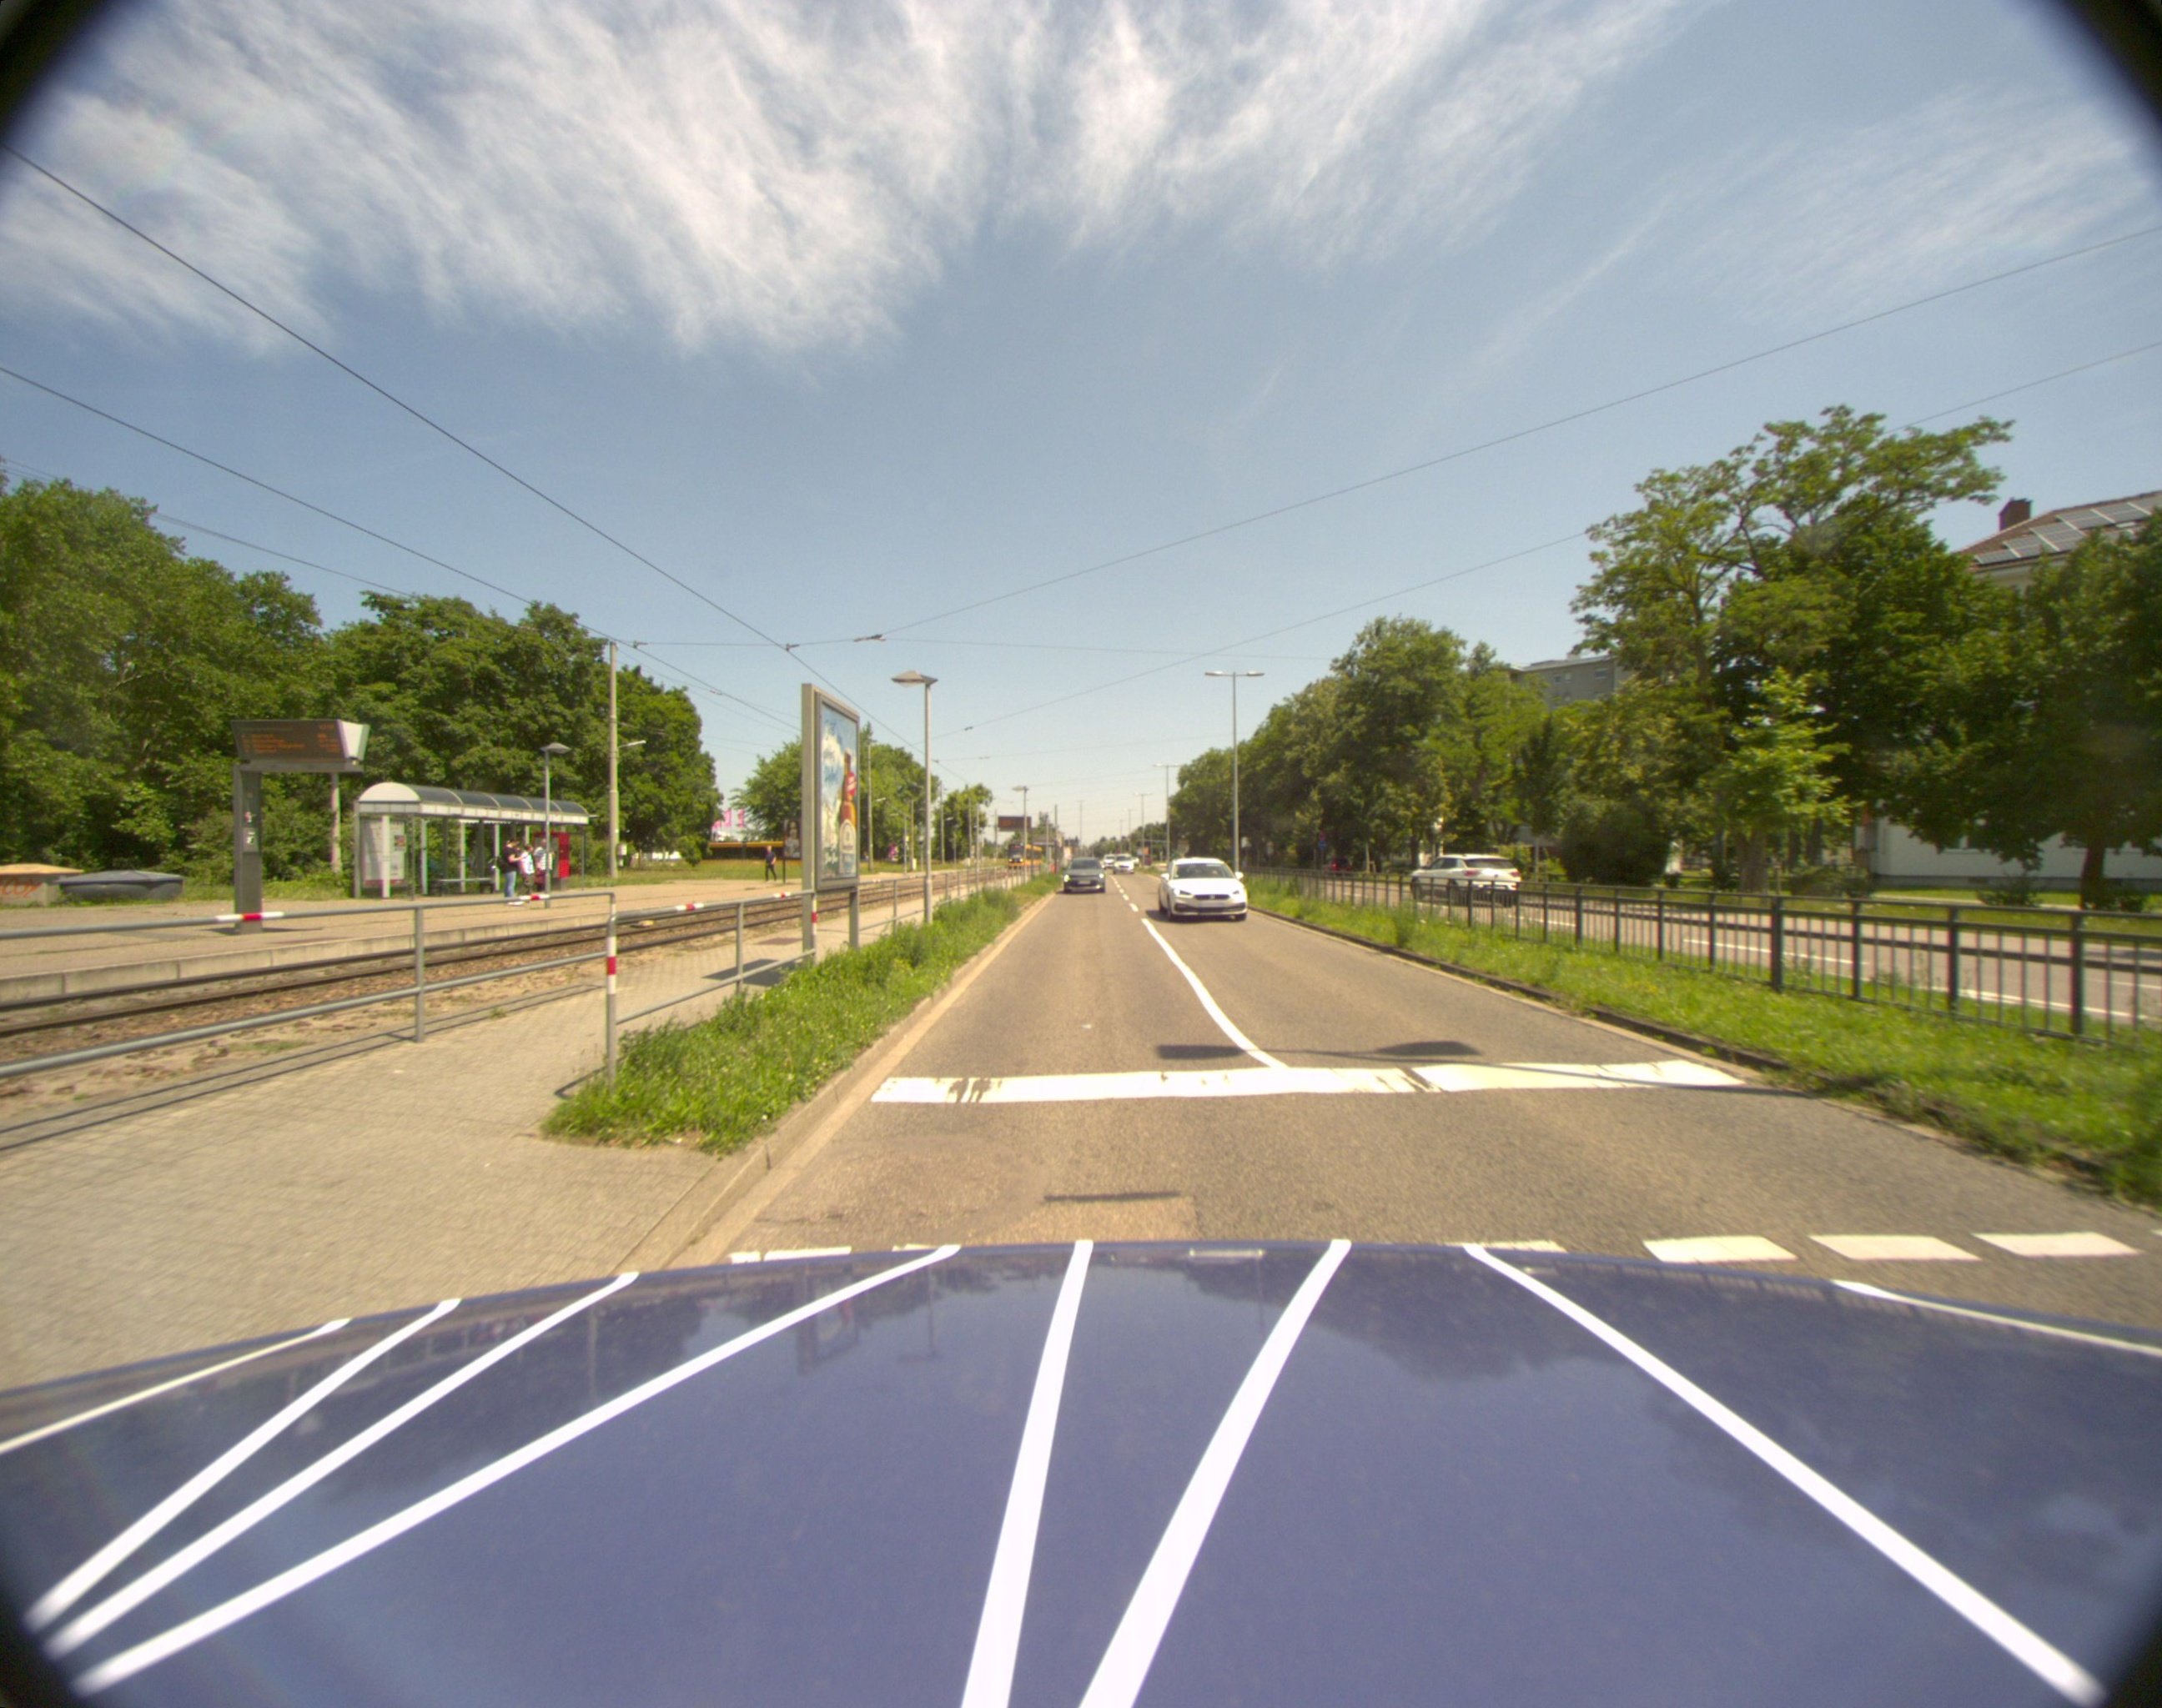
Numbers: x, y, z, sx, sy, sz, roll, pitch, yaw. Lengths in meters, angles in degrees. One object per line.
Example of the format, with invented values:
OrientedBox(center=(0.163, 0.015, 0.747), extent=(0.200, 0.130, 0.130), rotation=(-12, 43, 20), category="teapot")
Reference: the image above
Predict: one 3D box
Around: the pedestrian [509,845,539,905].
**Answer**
OrientedBox(center=(-14.813, 0.552, 20.202), extent=(0.361, 1.587, 0.483), rotation=(-1, 1, 4), category="pedestrian")

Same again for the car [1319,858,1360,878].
OrientedBox(center=(21.083, 1.087, 62.143), extent=(1.998, 1.575, 4.000), rotation=(0, 0, 1), category="car")

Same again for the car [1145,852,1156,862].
OrientedBox(center=(14.150, 0.681, 154.632), extent=(1.998, 2.002, 4.001), rotation=(1, 0, 3), category="car")

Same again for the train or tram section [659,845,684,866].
OrientedBox(center=(-73.609, 0.254, 136.841), extent=(2.719, 3.628, 13.225), rotation=(-2, 1, -23), category="train or tram section")

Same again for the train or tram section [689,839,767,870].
OrientedBox(center=(-44.540, 0.144, 95.563), extent=(13.214, 3.628, 2.721), rotation=(-1, 1, 36), category="train or tram section")

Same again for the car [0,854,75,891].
OrientedBox(center=(-37.909, 0.638, 26.471), extent=(1.575, 1.259, 3.992), rotation=(1, 0, -22), category="car")

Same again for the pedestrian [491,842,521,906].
OrientedBox(center=(-14.903, 0.516, 19.694), extent=(0.361, 1.637, 0.445), rotation=(-1, 1, 4), category="pedestrian")

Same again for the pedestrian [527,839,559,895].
OrientedBox(center=(-17.343, 0.410, 24.496), extent=(0.382, 1.764, 0.740), rotation=(-1, 1, 4), category="pedestrian")

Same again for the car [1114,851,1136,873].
OrientedBox(center=(4.143, 0.759, 71.737), extent=(1.998, 2.002, 4.001), rotation=(0, 0, 3), category="car")

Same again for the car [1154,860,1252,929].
OrientedBox(center=(2.869, 0.908, 18.739), extent=(1.772, 1.460, 4.111), rotation=(-1, 0, 1), category="car")

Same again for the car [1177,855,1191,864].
OrientedBox(center=(17.279, 0.926, 127.901), extent=(1.772, 1.545, 4.083), rotation=(0, 0, 0), category="car")

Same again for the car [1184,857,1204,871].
OrientedBox(center=(14.331, 1.239, 96.578), extent=(1.864, 1.748, 4.479), rotation=(1, 0, -1), category="car")

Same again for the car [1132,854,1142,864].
OrientedBox(center=(10.559, 0.928, 143.410), extent=(1.816, 1.631, 4.000), rotation=(-1, 1, 1), category="car")

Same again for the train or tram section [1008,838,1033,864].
OrientedBox(center=(-8.138, -0.356, 102.888), extent=(2.524, 3.303, 7.261), rotation=(0, 0, 2), category="train or tram section")

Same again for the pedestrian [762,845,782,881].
OrientedBox(center=(-15.176, 0.444, 37.335), extent=(0.707, 1.754, 0.658), rotation=(1, 0, 3), category="pedestrian")

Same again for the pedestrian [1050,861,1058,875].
OrientedBox(center=(-1.954, 1.009, 54.923), extent=(0.577, 1.034, 0.579), rotation=(0, 0, 1), category="pedestrian")

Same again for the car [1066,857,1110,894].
OrientedBox(center=(0.370, 0.909, 33.809), extent=(1.787, 1.554, 4.136), rotation=(0, 0, 3), category="car")

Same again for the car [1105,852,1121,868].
OrientedBox(center=(4.025, 0.801, 97.243), extent=(1.921, 2.002, 4.000), rotation=(0, 0, 1), category="car")

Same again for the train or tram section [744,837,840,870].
OrientedBox(center=(-33.748, -0.008, 88.305), extent=(13.149, 3.628, 2.720), rotation=(-1, 1, 31), category="train or tram section")

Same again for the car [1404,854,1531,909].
OrientedBox(center=(12.351, 0.826, 24.652), extent=(1.826, 1.563, 4.346), rotation=(0, 1, -1), category="car")
